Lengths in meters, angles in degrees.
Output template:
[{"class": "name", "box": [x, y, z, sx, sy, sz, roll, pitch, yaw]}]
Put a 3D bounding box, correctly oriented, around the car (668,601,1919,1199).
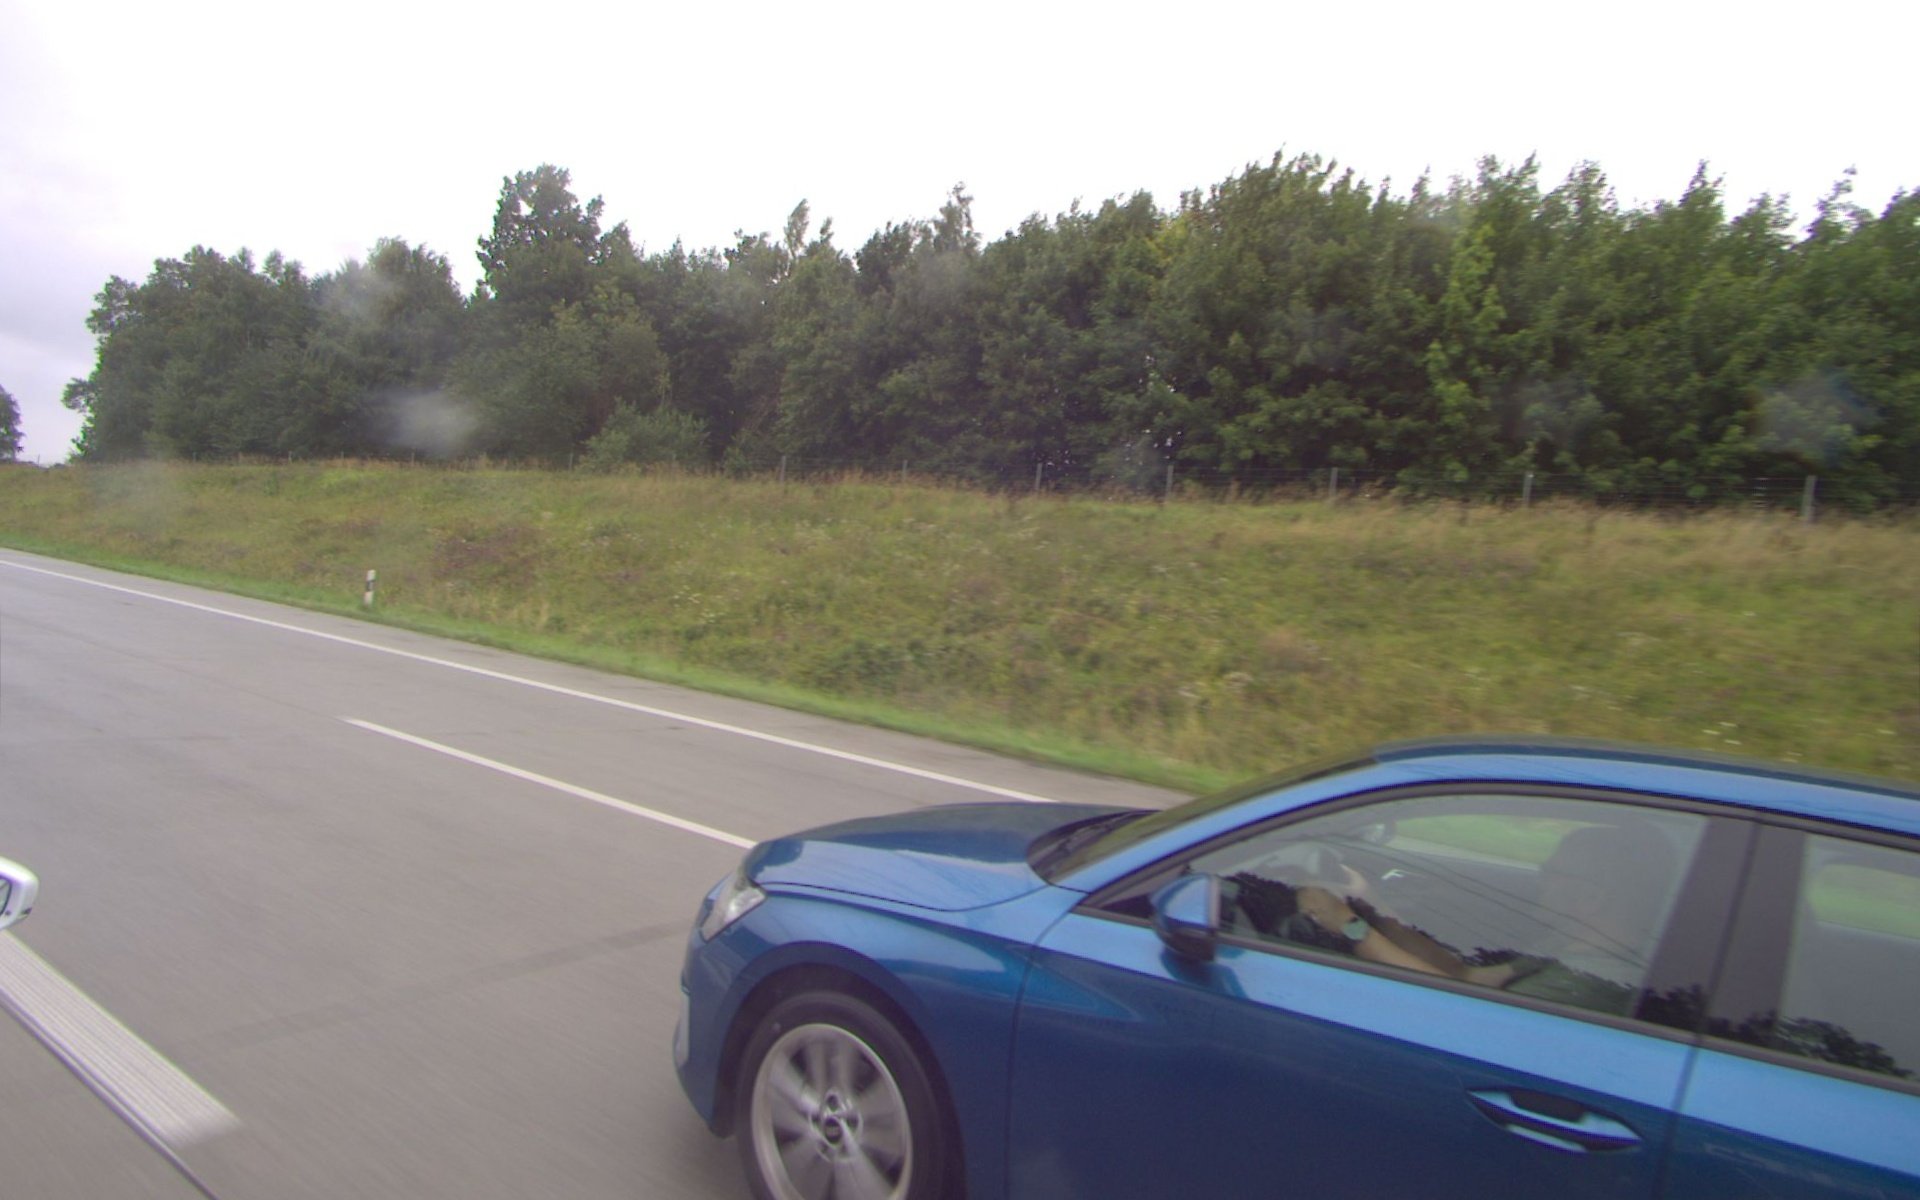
[{"class": "car", "box": [1.717, 1.005, 2.079, 4.595, 1.476, 1.731, 6, -1, 32]}]
